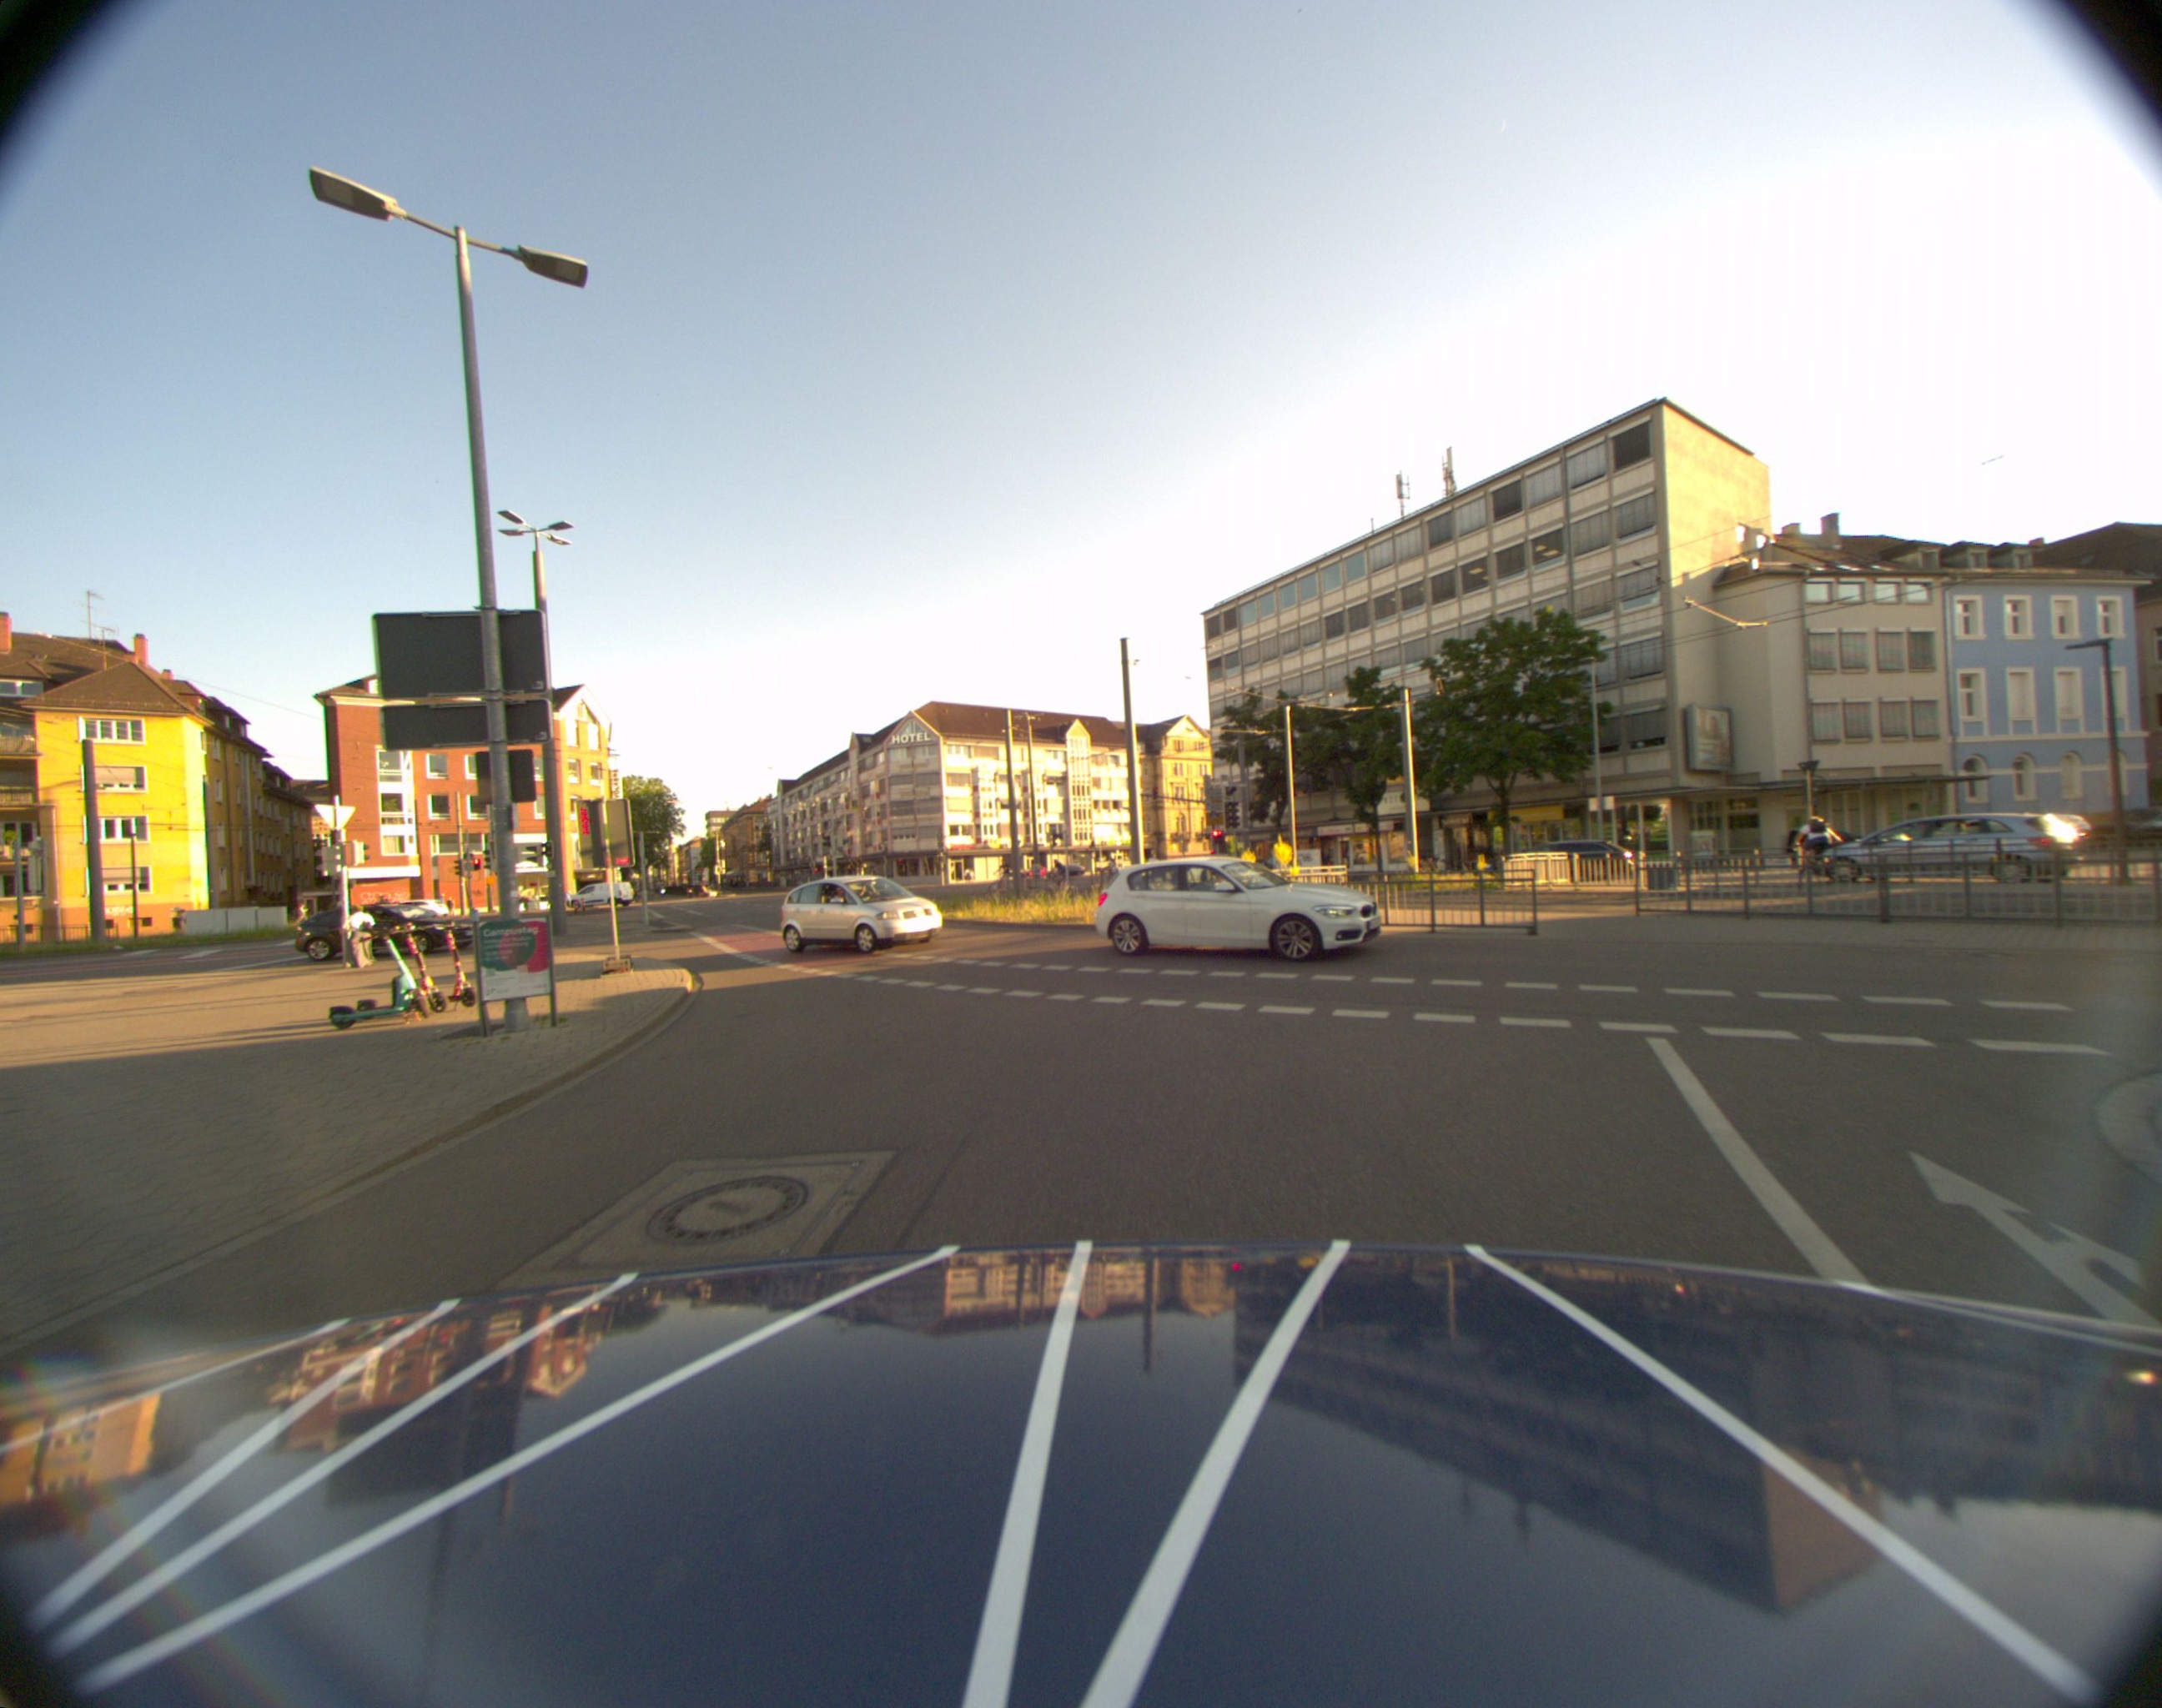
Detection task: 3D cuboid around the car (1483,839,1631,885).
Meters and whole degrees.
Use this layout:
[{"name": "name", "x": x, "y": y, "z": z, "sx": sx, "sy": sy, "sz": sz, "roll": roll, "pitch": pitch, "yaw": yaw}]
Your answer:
[{"name": "car", "x": 17.099, "y": 0.313, "z": 27.377, "sx": 4.360, "sy": 1.427, "sz": 1.740, "roll": -3, "pitch": 0, "yaw": 36}]

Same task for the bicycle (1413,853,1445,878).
[{"name": "bicycle", "x": 17.071, "y": 0.555, "z": 37.293, "sx": 1.749, "sy": 1.133, "sz": 0.665, "roll": -4, "pitch": 1, "yaw": -39}]

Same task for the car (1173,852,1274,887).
[{"name": "car", "x": 6.780, "y": 0.802, "z": 36.687, "sx": 2.043, "sy": 1.432, "sz": 4.651, "roll": -4, "pitch": 0, "yaw": -33}]

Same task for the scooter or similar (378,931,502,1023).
[{"name": "scooter or similar", "x": -8.869, "y": 1.696, "z": 10.529, "sx": 1.402, "sy": 1.159, "sz": 0.461, "roll": -3, "pitch": 0, "yaw": 9}]

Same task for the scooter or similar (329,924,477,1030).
[{"name": "scooter or similar", "x": -8.930, "y": 1.617, "z": 10.024, "sx": 1.651, "sy": 1.285, "sz": 0.461, "roll": -3, "pitch": 1, "yaw": 9}]

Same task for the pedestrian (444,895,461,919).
[{"name": "pedestrian", "x": -47.704, "y": 4.029, "z": 57.692, "sx": 0.874, "sy": 1.768, "sz": 0.915, "roll": -4, "pitch": 1, "yaw": -41}]

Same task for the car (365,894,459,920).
[{"name": "car", "x": -46.797, "y": 3.686, "z": 53.274, "sx": 4.568, "sy": 1.440, "sz": 1.813, "roll": -3, "pitch": 0, "yaw": -25}]

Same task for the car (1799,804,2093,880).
[{"name": "car", "x": 20.474, "y": -0.224, "z": 18.199, "sx": 2.208, "sy": 1.550, "sz": 4.271, "roll": -3, "pitch": 0, "yaw": -30}]

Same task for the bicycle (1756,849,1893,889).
[{"name": "bicycle", "x": 17.723, "y": 0.332, "z": 18.214, "sx": 0.846, "sy": 0.841, "sz": 2.422, "roll": -3, "pitch": 0, "yaw": -1}]

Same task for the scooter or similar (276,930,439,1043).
[{"name": "scooter or similar", "x": -8.982, "y": 1.639, "z": 9.457, "sx": 1.524, "sy": 1.252, "sz": 0.612, "roll": -4, "pitch": 0, "yaw": 9}]

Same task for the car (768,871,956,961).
[{"name": "car", "x": -4.612, "y": 1.272, "z": 15.825, "sx": 3.717, "sy": 1.552, "sz": 1.683, "roll": -4, "pitch": 2, "yaw": 35}]

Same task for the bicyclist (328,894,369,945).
[{"name": "bicyclist", "x": -25.084, "y": 2.229, "z": 26.037, "sx": 0.749, "sy": 1.662, "sz": 0.595, "roll": -4, "pitch": 3, "yaw": -27}]

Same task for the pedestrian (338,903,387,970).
[{"name": "pedestrian", "x": -18.226, "y": 2.083, "z": 19.288, "sx": 0.691, "sy": 1.604, "sz": 0.595, "roll": -3, "pitch": 0, "yaw": -28}]

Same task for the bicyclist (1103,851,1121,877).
[{"name": "bicyclist", "x": 1.691, "y": 0.559, "z": 41.397, "sx": 0.682, "sy": 1.361, "sz": 0.717, "roll": -3, "pitch": 0, "yaw": 28}]

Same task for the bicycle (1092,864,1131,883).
[{"name": "bicycle", "x": 1.650, "y": 1.072, "z": 41.427, "sx": 1.949, "sy": 0.924, "sz": 0.725, "roll": -3, "pitch": 0, "yaw": 28}]

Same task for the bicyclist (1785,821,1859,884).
[{"name": "bicyclist", "x": 17.709, "y": -0.045, "z": 18.181, "sx": 0.834, "sy": 1.432, "sz": 0.930, "roll": -3, "pitch": 1, "yaw": -1}]

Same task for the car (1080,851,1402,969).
[{"name": "car", "x": 2.299, "y": 0.768, "z": 11.468, "sx": 4.293, "sy": 1.397, "sz": 1.920, "roll": -3, "pitch": 1, "yaw": 38}]

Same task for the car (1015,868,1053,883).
[{"name": "car", "x": -5.139, "y": 2.397, "z": 83.478, "sx": 3.903, "sy": 1.413, "sz": 1.645, "roll": -2, "pitch": 0, "yaw": -38}]

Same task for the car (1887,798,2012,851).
[{"name": "car", "x": 29.027, "y": -0.998, "z": 25.375, "sx": 4.256, "sy": 1.565, "sz": 1.882, "roll": -3, "pitch": 0, "yaw": -29}]

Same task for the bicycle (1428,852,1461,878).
[{"name": "bicycle", "x": 17.392, "y": 0.520, "z": 36.347, "sx": 1.640, "sy": 1.178, "sz": 0.537, "roll": -4, "pitch": 1, "yaw": -32}]

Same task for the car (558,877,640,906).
[{"name": "car", "x": -36.083, "y": 2.816, "z": 56.954, "sx": 4.871, "sy": 1.827, "sz": 2.001, "roll": -3, "pitch": 0, "yaw": 2}]

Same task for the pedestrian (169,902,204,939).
[{"name": "pedestrian", "x": -38.643, "y": 2.872, "z": 32.834, "sx": 0.637, "sy": 1.532, "sz": 0.706, "roll": -3, "pitch": 0, "yaw": -19}]

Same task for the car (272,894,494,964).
[{"name": "car", "x": -20.257, "y": 2.144, "z": 22.259, "sx": 4.391, "sy": 1.608, "sz": 1.943, "roll": -3, "pitch": 0, "yaw": -8}]

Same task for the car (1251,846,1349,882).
[{"name": "car", "x": 10.671, "y": 0.535, "z": 37.247, "sx": 2.003, "sy": 1.565, "sz": 4.293, "roll": -3, "pitch": 0, "yaw": -33}]

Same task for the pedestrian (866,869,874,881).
[{"name": "pedestrian", "x": -26.899, "y": 2.661, "z": 96.871, "sx": 0.709, "sy": 1.540, "sz": 0.904, "roll": -3, "pitch": 1, "yaw": -37}]
